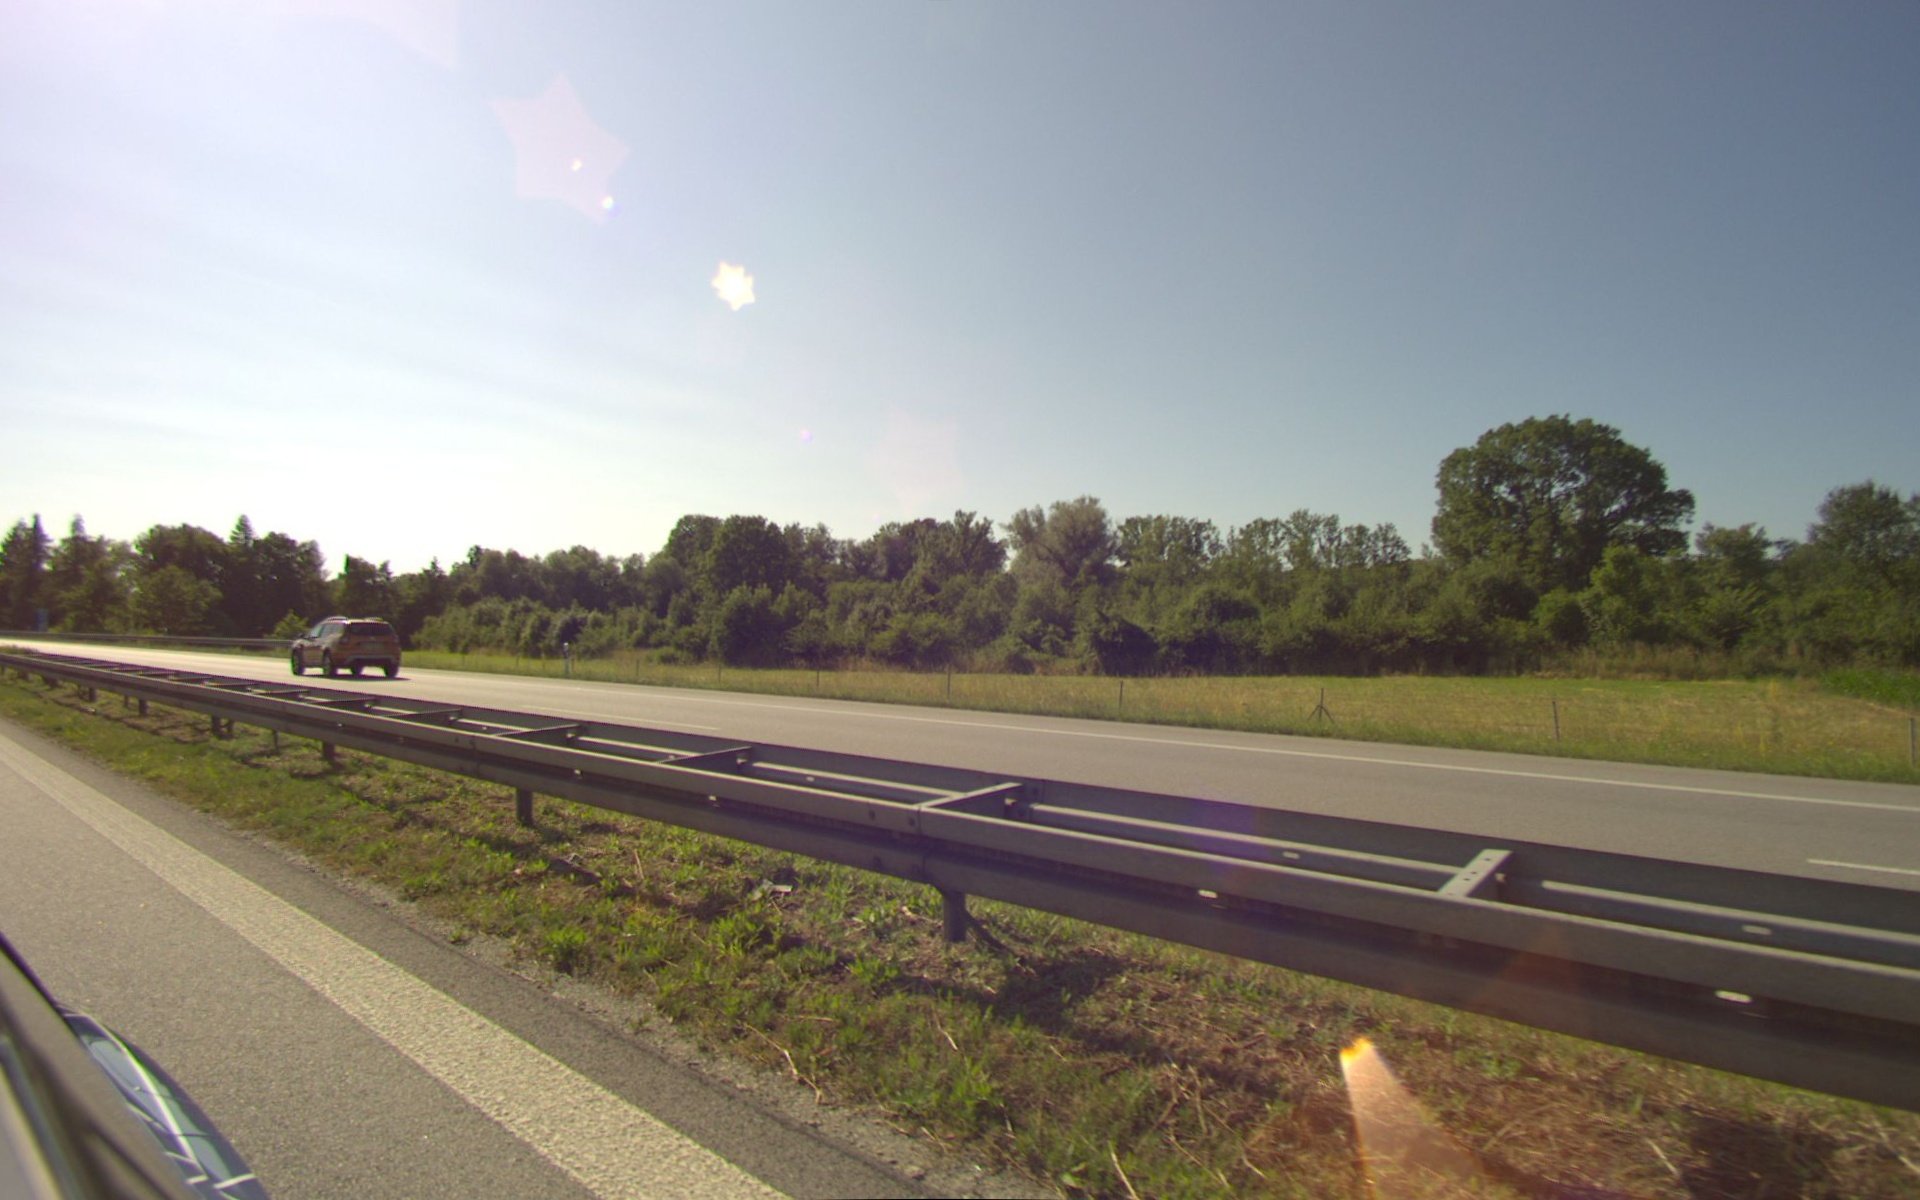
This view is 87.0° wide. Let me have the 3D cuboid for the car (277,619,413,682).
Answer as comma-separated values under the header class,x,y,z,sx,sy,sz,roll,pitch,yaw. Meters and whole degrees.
class,x,y,z,sx,sy,sz,roll,pitch,yaw
car,-17.863,1.435,29.324,4.773,1.674,1.973,-2,-4,41
